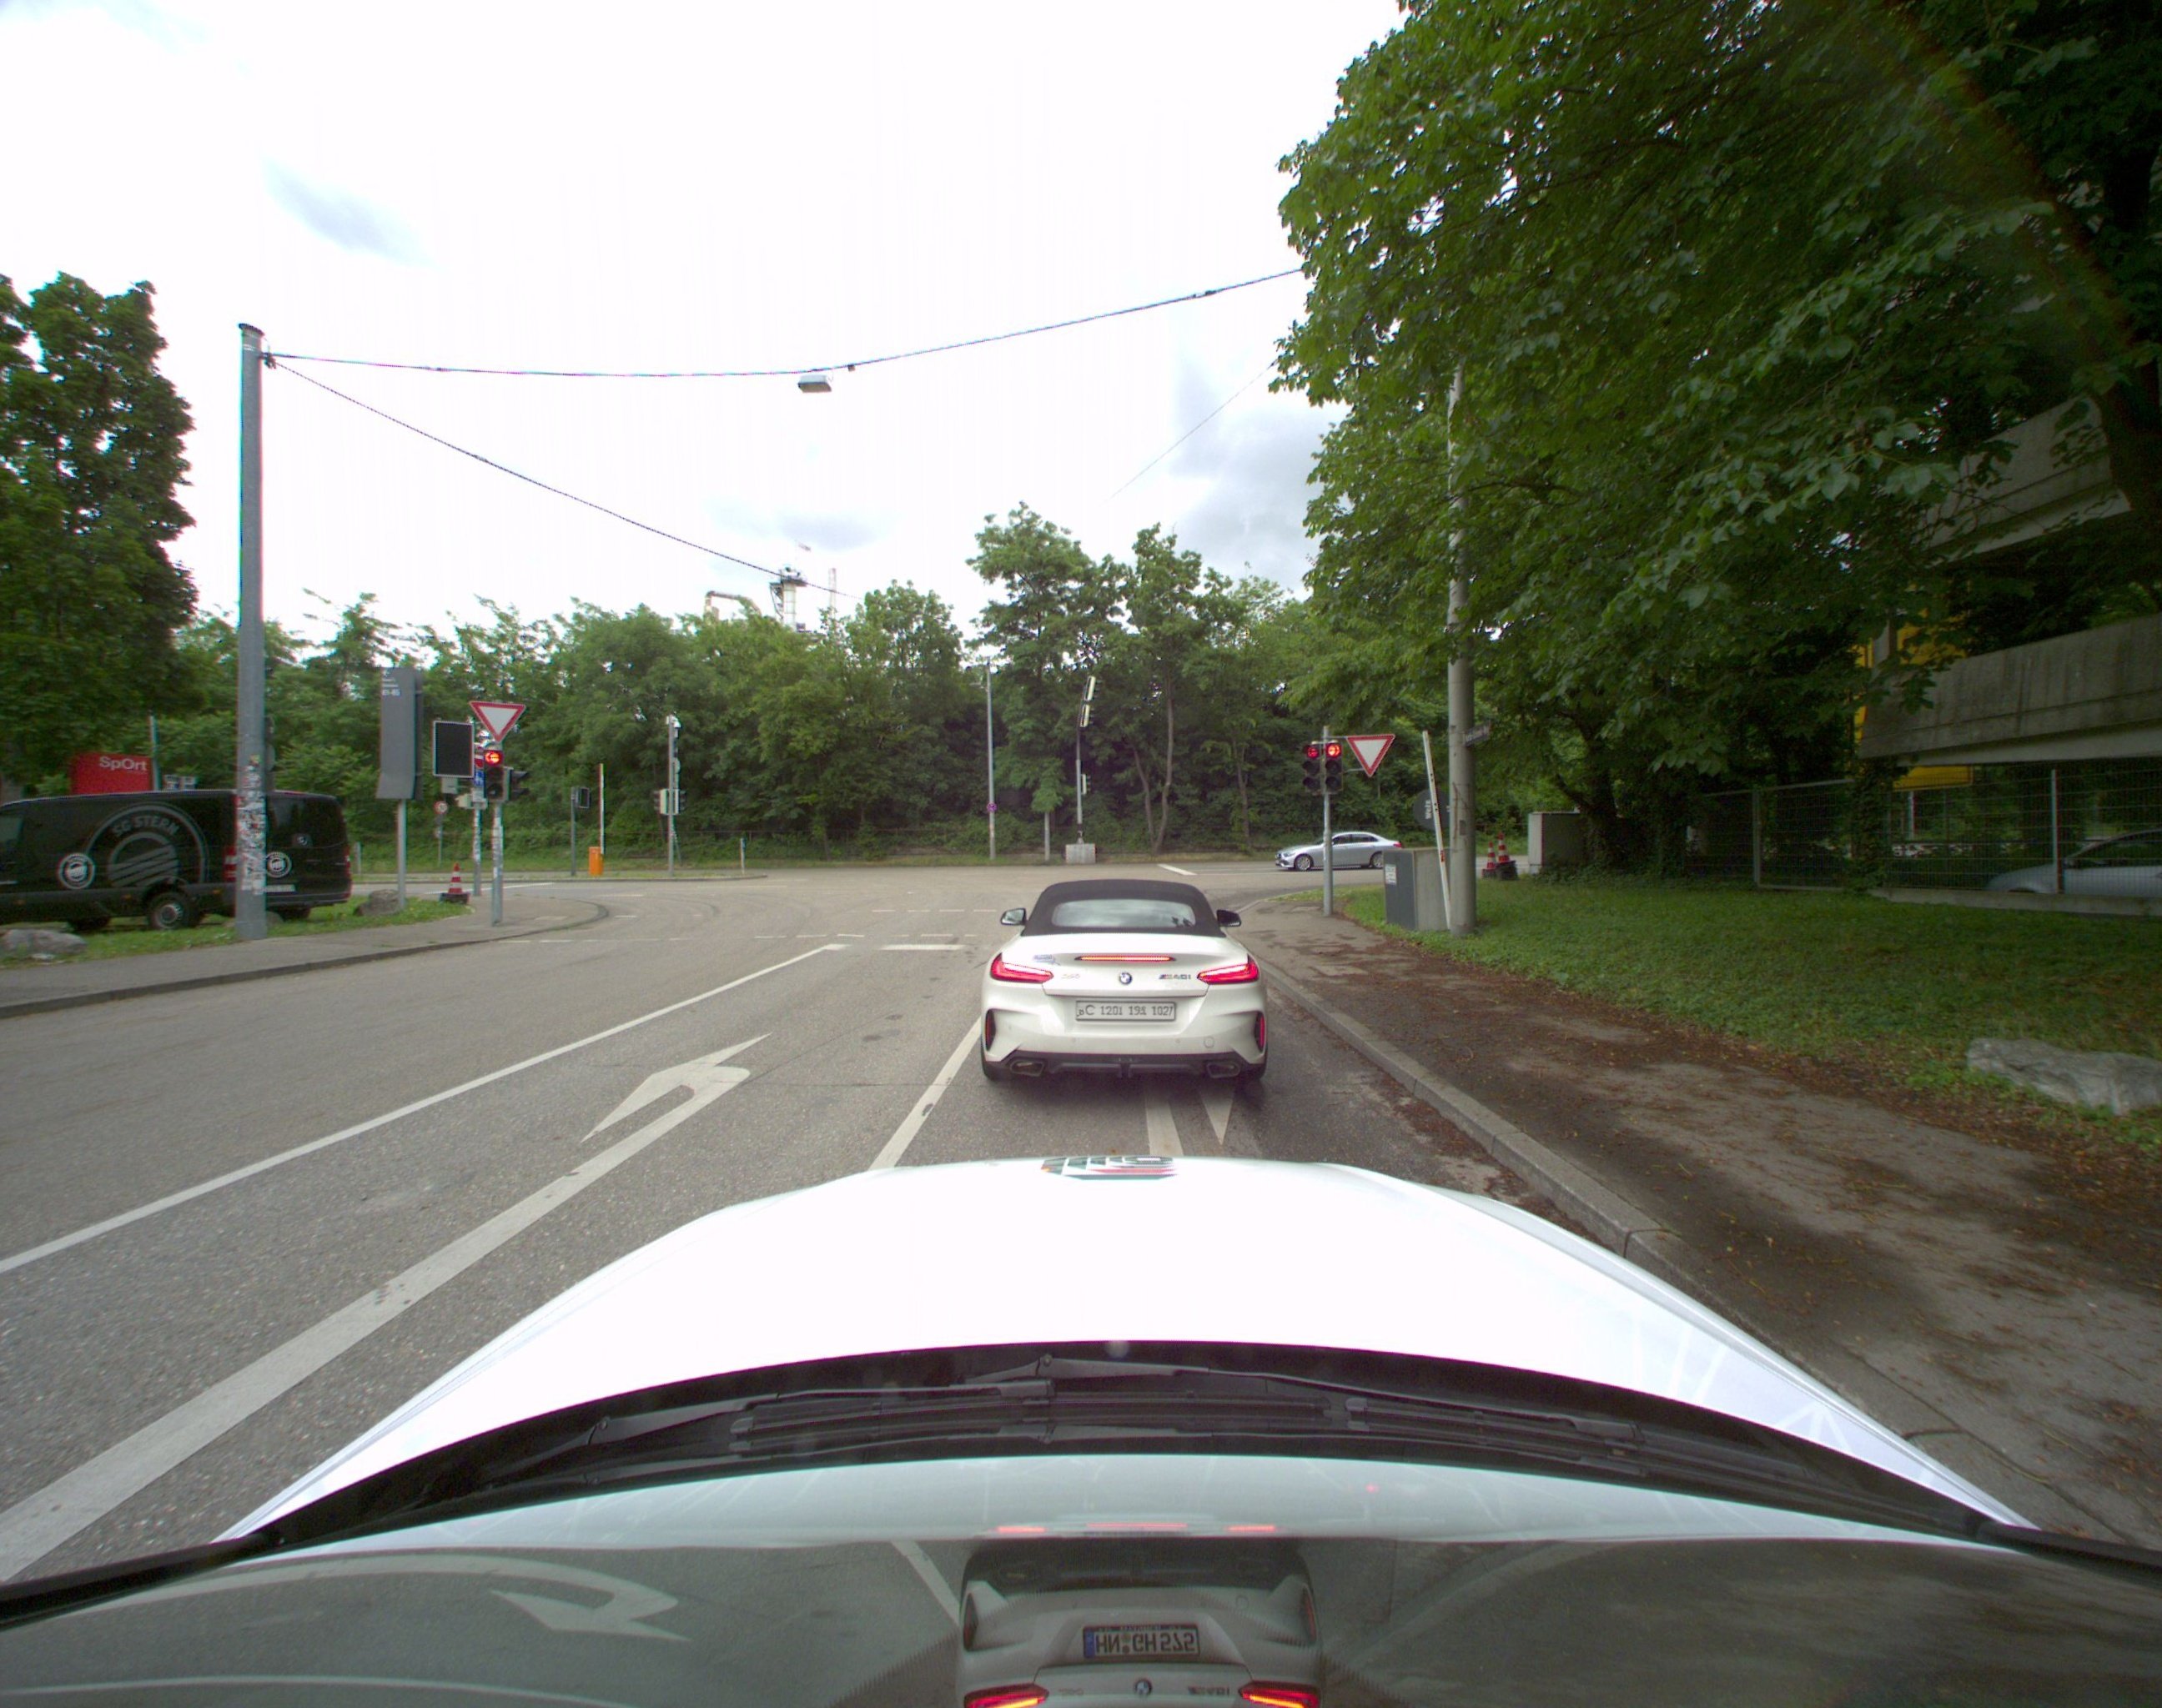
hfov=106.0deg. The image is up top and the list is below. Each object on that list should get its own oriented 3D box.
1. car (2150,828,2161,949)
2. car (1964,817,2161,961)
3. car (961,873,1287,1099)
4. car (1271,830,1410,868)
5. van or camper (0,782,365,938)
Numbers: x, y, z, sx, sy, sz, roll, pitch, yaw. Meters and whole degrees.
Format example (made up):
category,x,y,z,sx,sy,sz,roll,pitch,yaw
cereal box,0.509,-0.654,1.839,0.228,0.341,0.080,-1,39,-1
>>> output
category,x,y,z,sx,sy,sz,roll,pitch,yaw
car,16.009,0.454,9.730,1.574,1.708,3.770,0,-1,2
car,13.615,0.427,10.038,1.475,1.708,3.720,0,-1,2
car,0.244,0.790,6.574,1.822,1.257,3.998,0,-1,0
car,9.802,-0.209,31.029,4.736,1.333,1.834,-1,2,0
van or camper,-15.888,0.158,13.938,5.513,2.314,2.063,-2,-2,2
